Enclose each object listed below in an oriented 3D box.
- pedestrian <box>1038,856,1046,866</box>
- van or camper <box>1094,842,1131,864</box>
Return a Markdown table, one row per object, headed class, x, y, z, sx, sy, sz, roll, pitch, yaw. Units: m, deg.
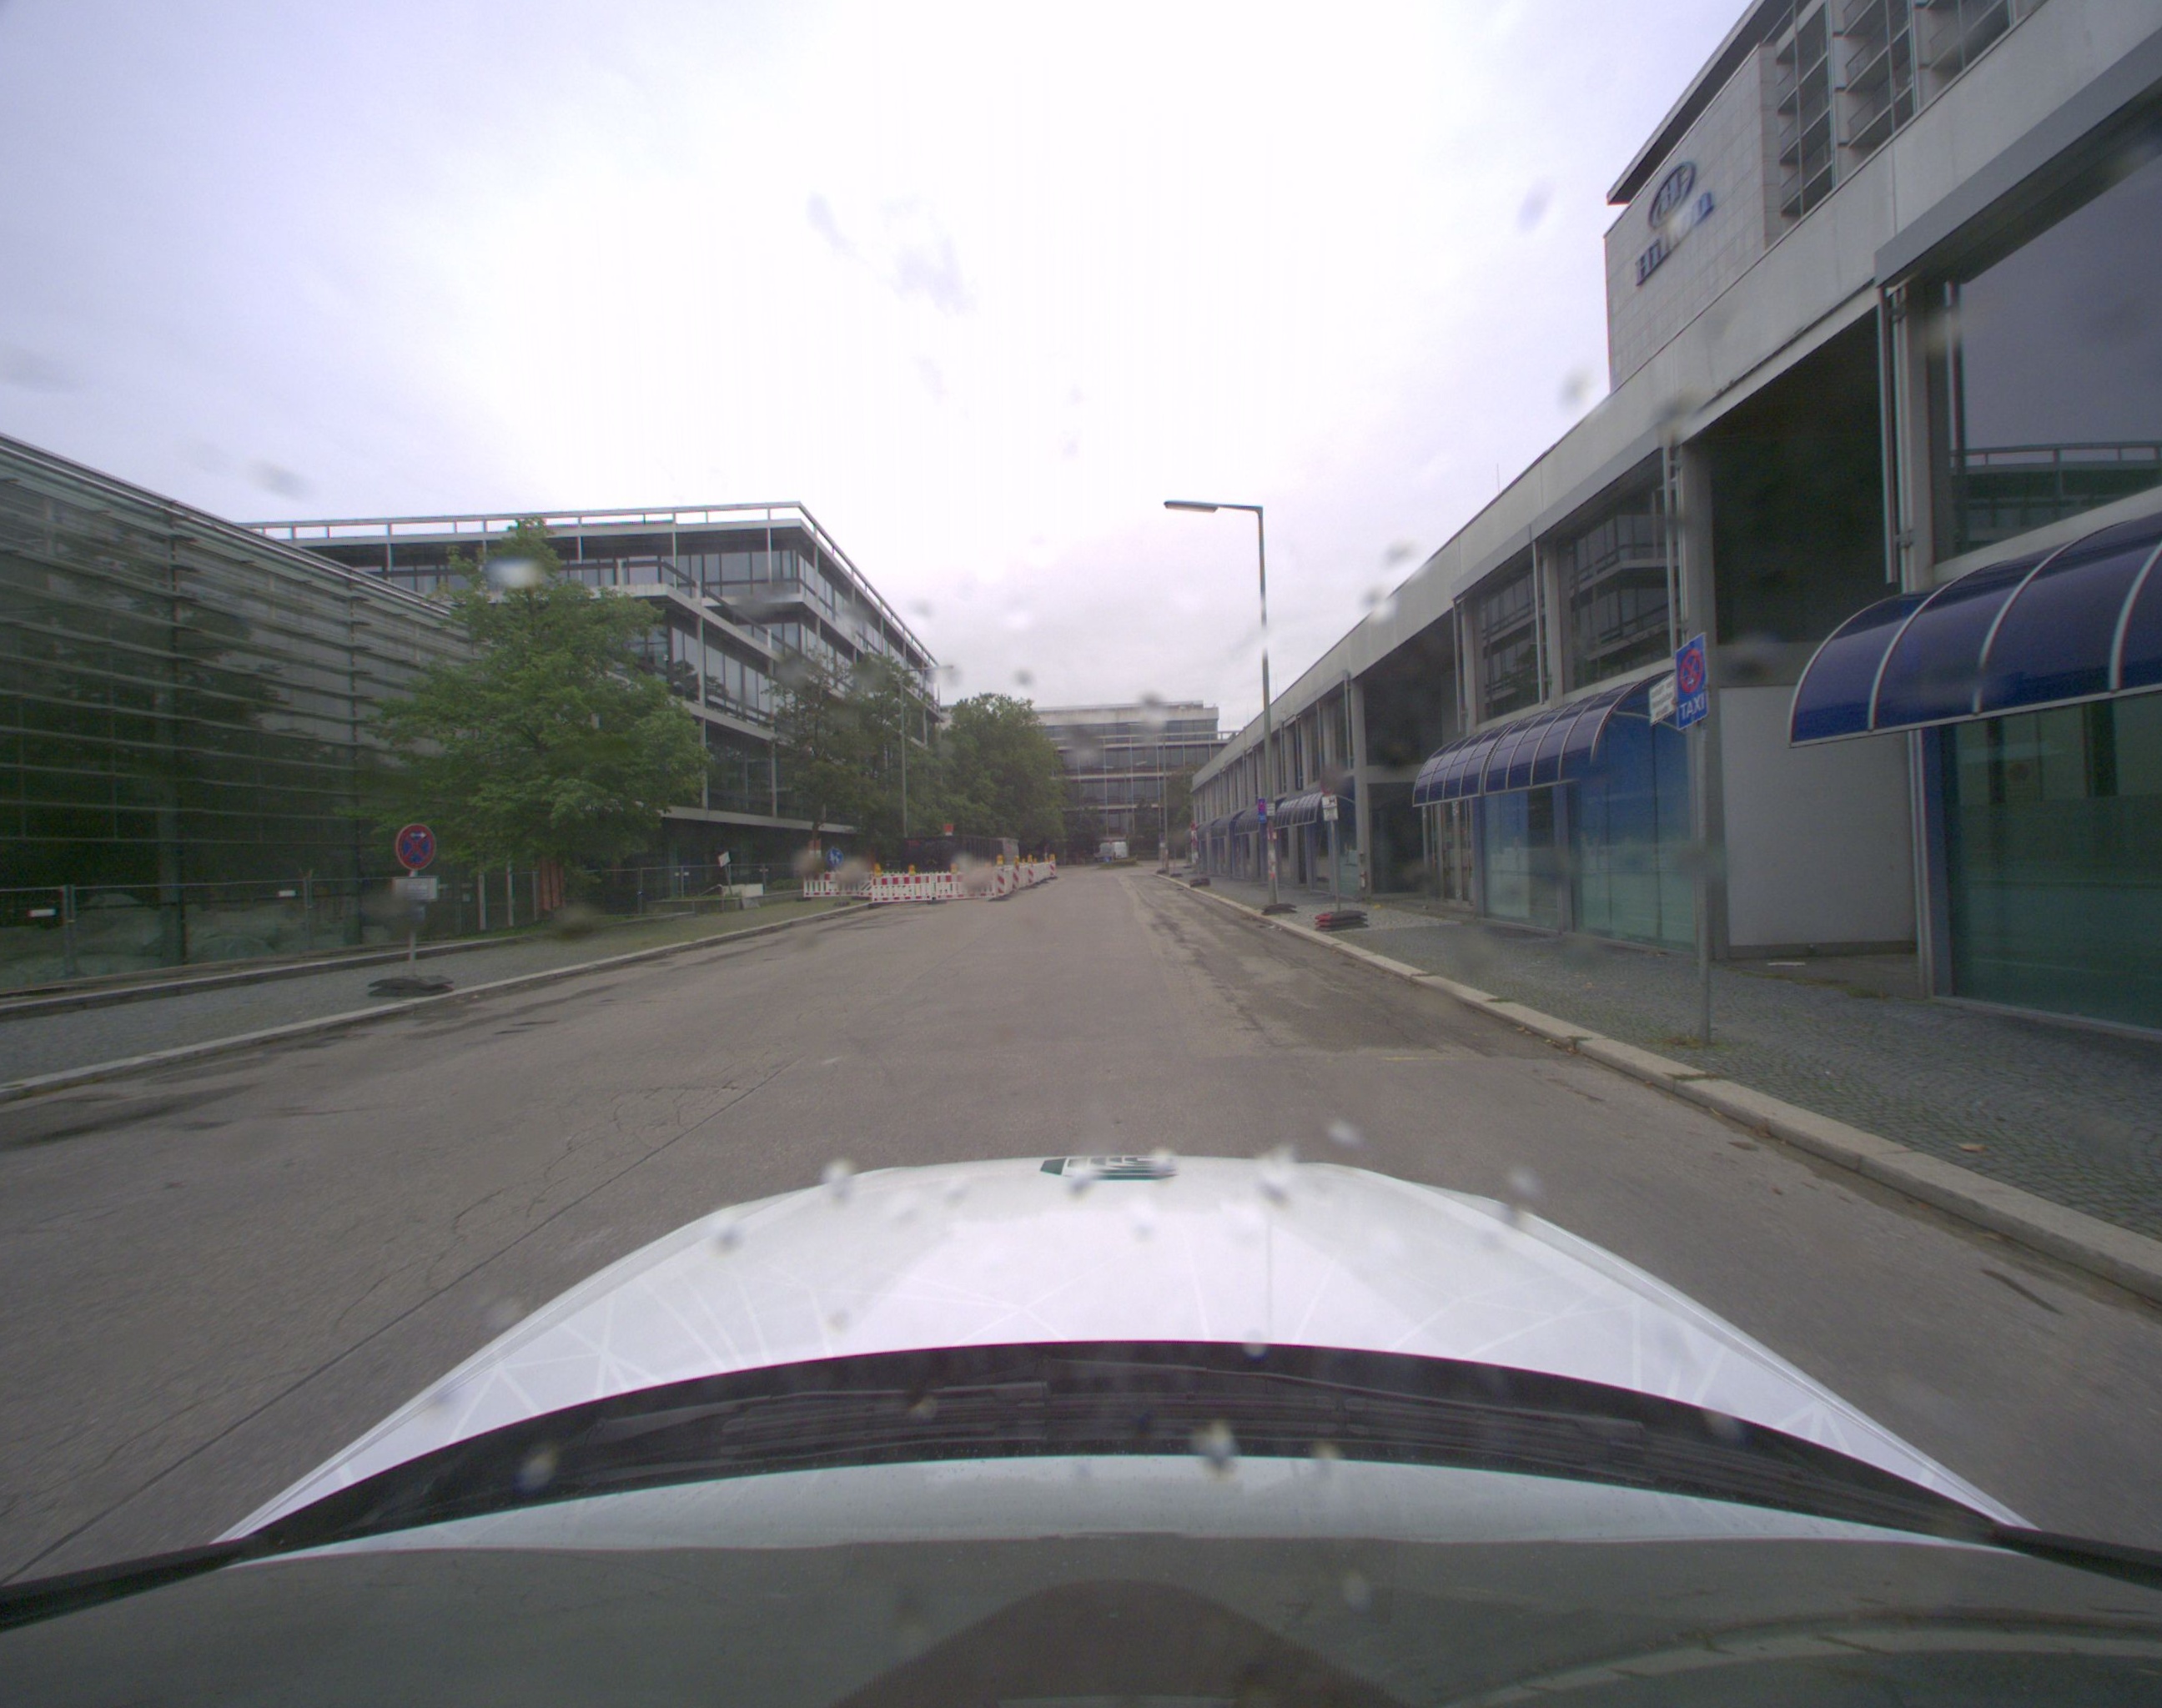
| class | x | y | z | sx | sy | sz | roll | pitch | yaw |
| --- | --- | --- | --- | --- | --- | --- | --- | --- | --- |
| pedestrian | -5.013 | 0.938 | 105.700 | 0.922 | 1.278 | 0.542 | -2 | 0 | 3 |
| van or camper | 4.083 | -0.137 | 107.668 | 2.166 | 2.581 | 6.486 | -2 | -2 | -24 |
